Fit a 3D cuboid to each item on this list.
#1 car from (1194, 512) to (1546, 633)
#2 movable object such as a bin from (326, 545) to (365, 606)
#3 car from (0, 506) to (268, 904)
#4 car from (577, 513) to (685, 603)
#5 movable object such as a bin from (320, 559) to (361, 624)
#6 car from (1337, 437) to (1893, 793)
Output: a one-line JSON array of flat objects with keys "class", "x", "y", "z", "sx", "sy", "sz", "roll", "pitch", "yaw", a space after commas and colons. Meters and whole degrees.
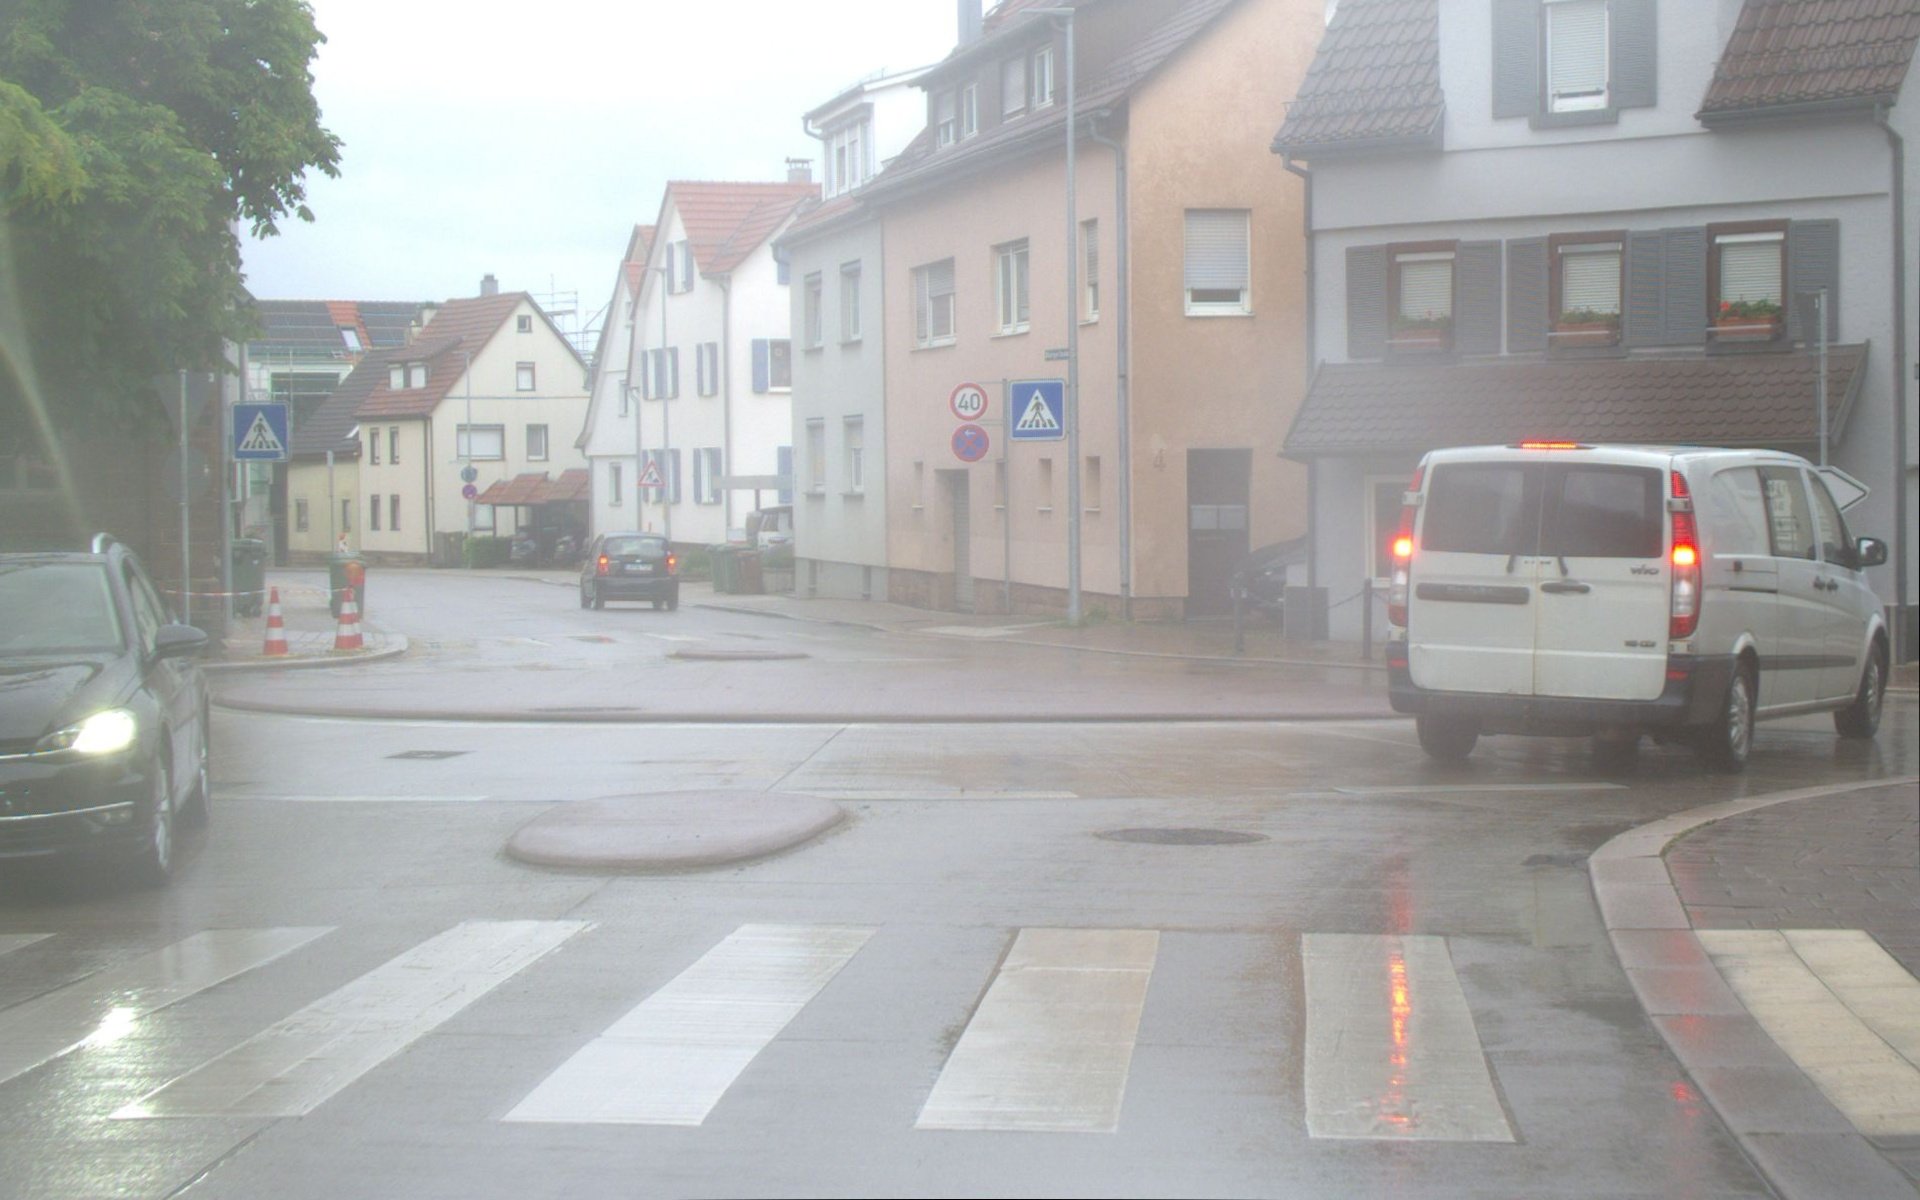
[{"class": "car", "x": 5.207, "y": -0.349, "z": 43.840, "sx": 3.986, "sy": 1.481, "sz": 2.001, "roll": 0, "pitch": 0, "yaw": -18}, {"class": "movable object such as a bin", "x": -12.009, "y": -0.483, "z": 67.138, "sx": 0.654, "sy": 1.165, "sz": 0.782, "roll": 1, "pitch": 0, "yaw": -16}, {"class": "car", "x": -4.222, "y": 0.343, "z": 15.265, "sx": 1.786, "sy": 1.502, "sz": 4.470, "roll": 0, "pitch": 2, "yaw": -5}, {"class": "car", "x": -6.319, "y": -0.786, "z": 65.731, "sx": 1.972, "sy": 1.674, "sz": 4.069, "roll": 0, "pitch": 0, "yaw": -7}, {"class": "movable object such as a bin", "x": -11.212, "y": -0.155, "z": 62.206, "sx": 0.626, "sy": 1.169, "sz": 0.762, "roll": 1, "pitch": 0, "yaw": -16}, {"class": "car", "x": 4.134, "y": 0.069, "z": 20.947, "sx": 2.155, "sy": 1.892, "sz": 4.918, "roll": 0, "pitch": 0, "yaw": 25}]
